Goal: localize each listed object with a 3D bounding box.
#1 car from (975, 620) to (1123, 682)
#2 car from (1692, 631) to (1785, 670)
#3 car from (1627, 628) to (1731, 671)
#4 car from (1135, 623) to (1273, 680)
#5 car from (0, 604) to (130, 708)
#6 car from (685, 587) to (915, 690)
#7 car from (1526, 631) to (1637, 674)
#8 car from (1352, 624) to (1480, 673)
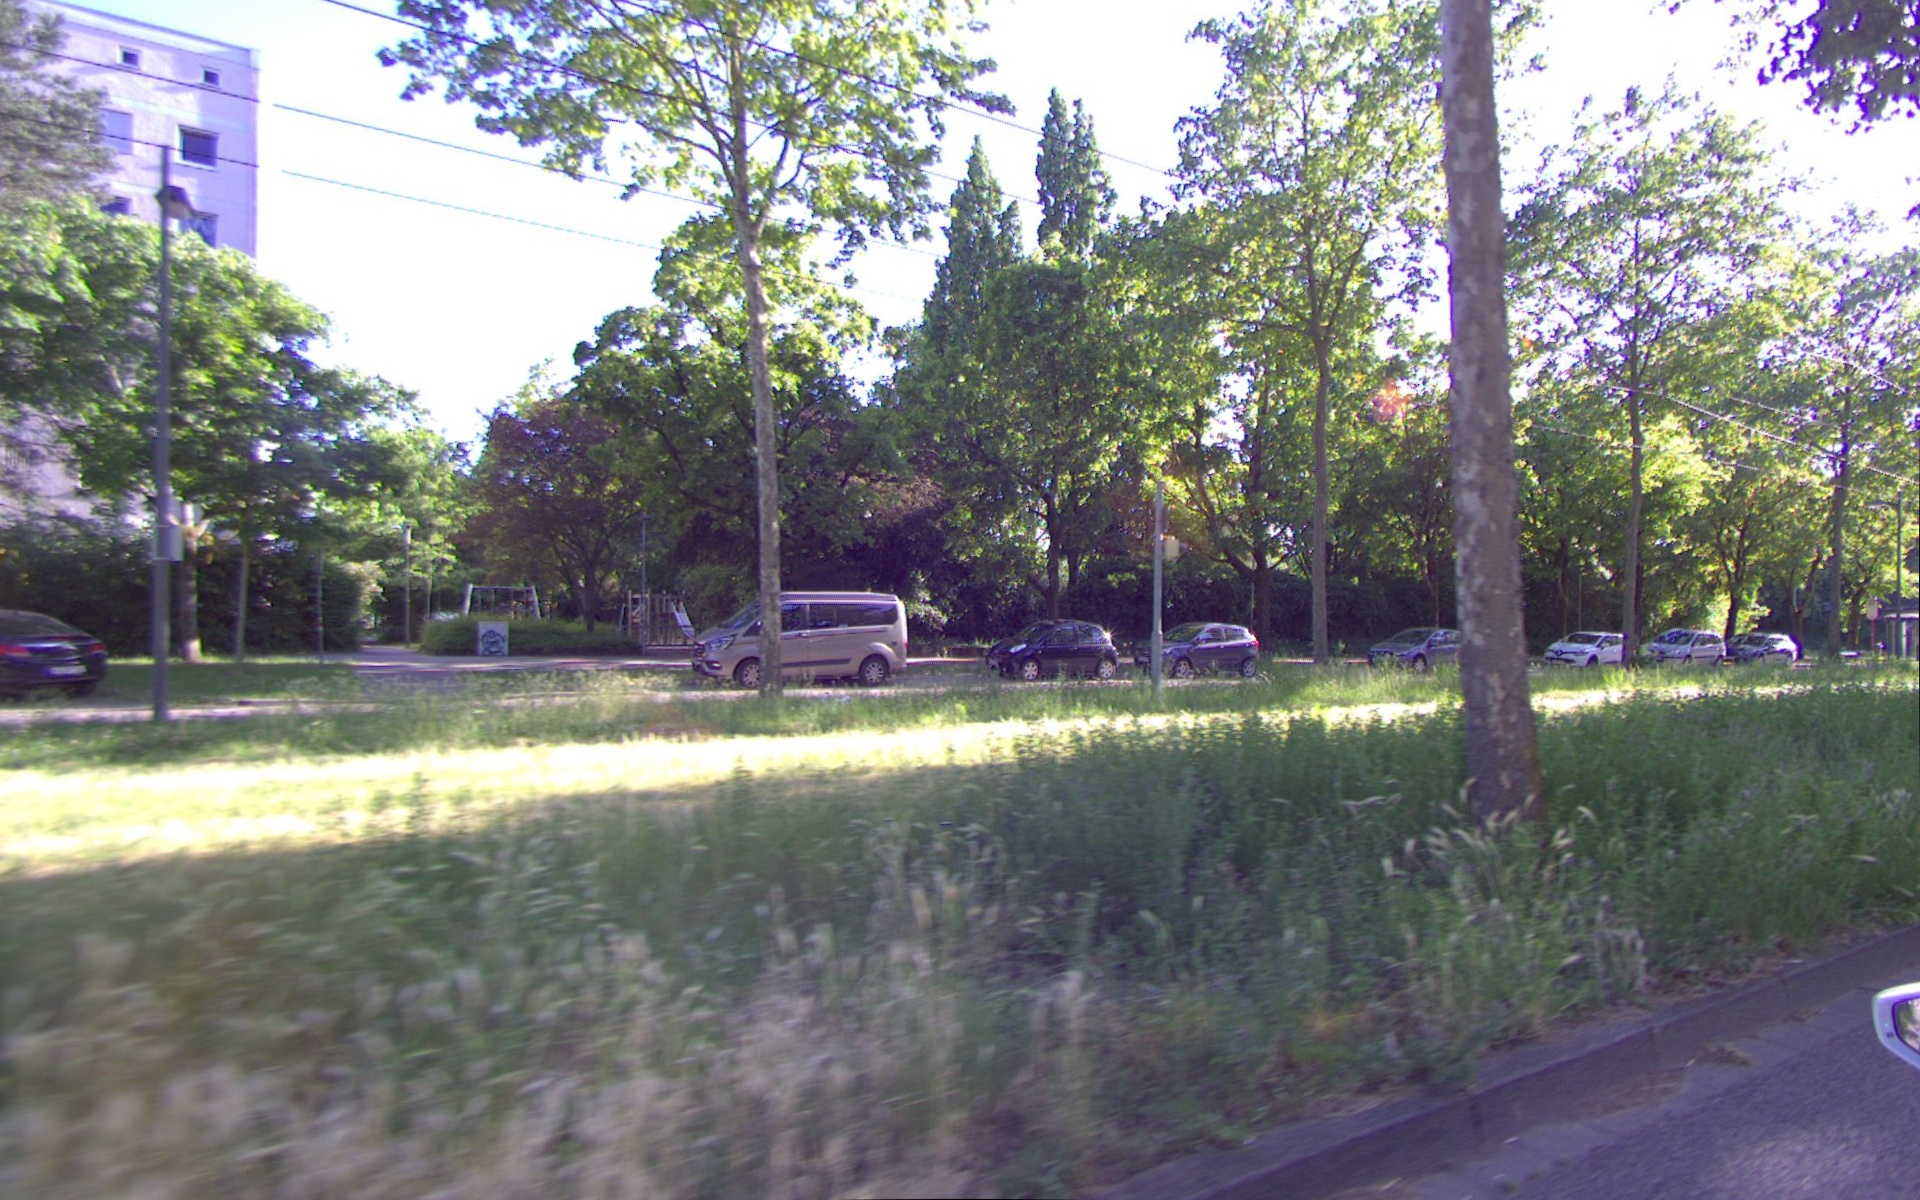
[{"bbox_3d":[2.374,1.335,26.757,3.618,1.472,1.638,1,2,-28],"label":"car"},{"bbox_3d":[35.630,2.273,45.960,4.116,1.611,1.779,1,2,-28],"label":"car"},{"bbox_3d":[30.871,2.105,43.127,4.116,1.611,1.985,1,2,-28],"label":"car"},{"bbox_3d":[7.097,1.469,29.236,3.530,1.472,1.864,1,2,-28],"label":"car"},{"bbox_3d":[-16.584,0.880,17.010,4.397,1.589,1.796,0,-1,18],"label":"car"},{"bbox_3d":[-3.593,0.850,22.844,4.853,2.121,1.638,1,2,-28],"label":"car"},{"bbox_3d":[24.399,2.026,39.425,3.950,1.472,1.985,1,2,-28],"label":"car"},{"bbox_3d":[15.559,1.628,34.265,3.950,1.472,1.985,1,2,-28],"label":"car"}]
